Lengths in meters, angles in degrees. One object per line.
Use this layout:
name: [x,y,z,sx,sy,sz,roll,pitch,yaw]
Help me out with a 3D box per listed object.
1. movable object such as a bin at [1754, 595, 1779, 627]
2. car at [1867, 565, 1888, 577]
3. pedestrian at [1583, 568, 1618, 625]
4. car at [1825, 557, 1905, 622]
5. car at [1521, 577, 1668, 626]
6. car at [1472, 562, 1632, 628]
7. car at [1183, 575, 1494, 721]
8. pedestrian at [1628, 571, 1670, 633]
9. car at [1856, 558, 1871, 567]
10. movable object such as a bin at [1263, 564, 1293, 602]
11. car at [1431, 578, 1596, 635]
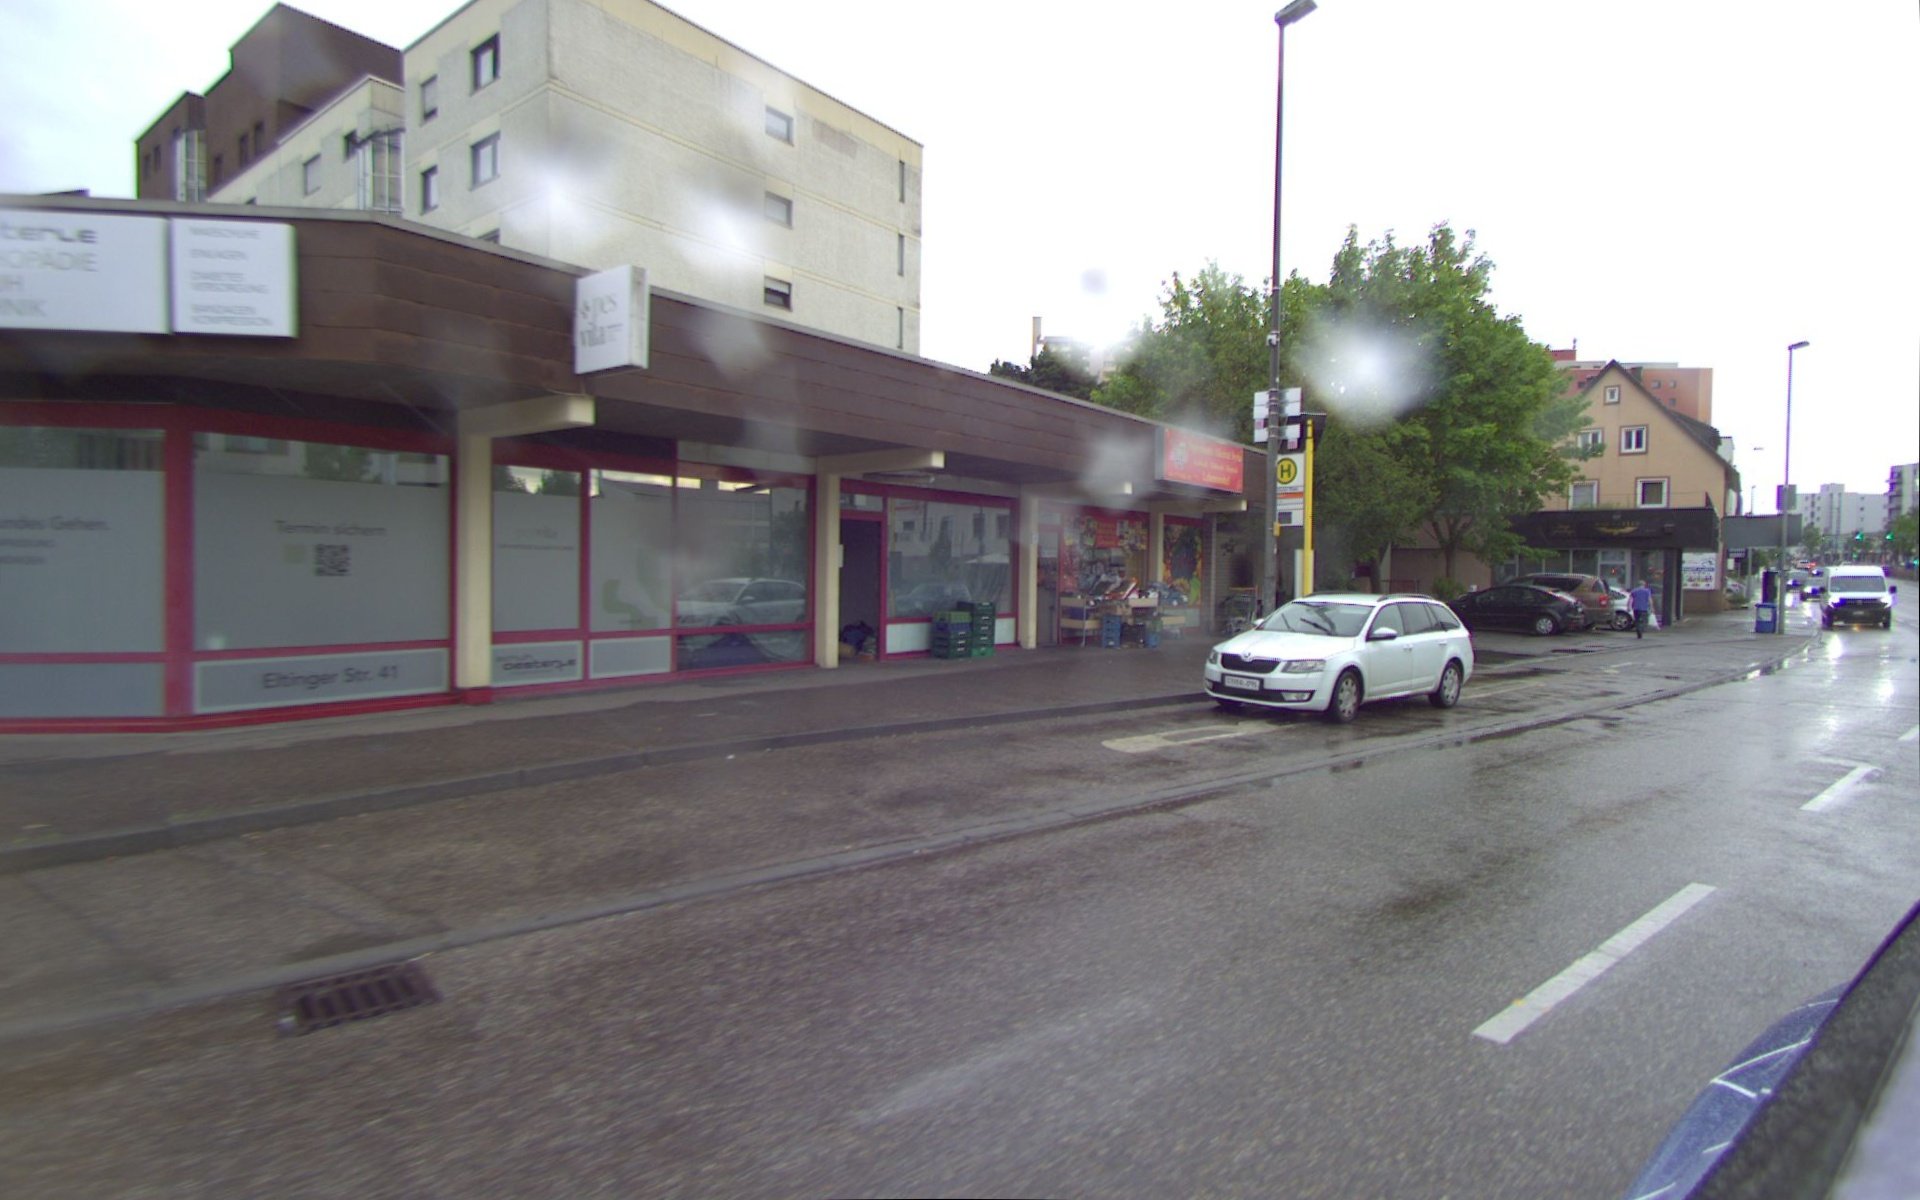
movable object such as a bin: [28.604,0.378,35.896,0.636,1.088,0.687,3,1,42]
car: [129.893,-4.135,143.258,1.877,1.542,4.128,3,5,38]
pedestrian: [21.214,-0.134,33.545,0.700,1.843,0.794,1,3,13]
car: [38.365,-0.545,42.836,2.291,2.410,6.525,3,5,43]
car: [21.784,0.017,34.843,3.989,1.465,1.718,4,3,45]
car: [19.105,-0.213,32.758,4.097,1.893,1.846,4,3,45]
car: [4.980,0.505,13.028,4.400,1.516,1.735,0,3,-39]
pedestrian: [20.378,0.041,29.918,0.875,1.758,0.748,4,2,41]
car: [158.010,-6.609,177.083,1.647,1.434,4.082,6,6,39]
movable object such as a bin: [9.378,-0.508,29.826,0.643,1.069,0.632,3,2,38]
car: [17.041,0.143,31.258,4.146,1.471,1.776,4,4,42]
